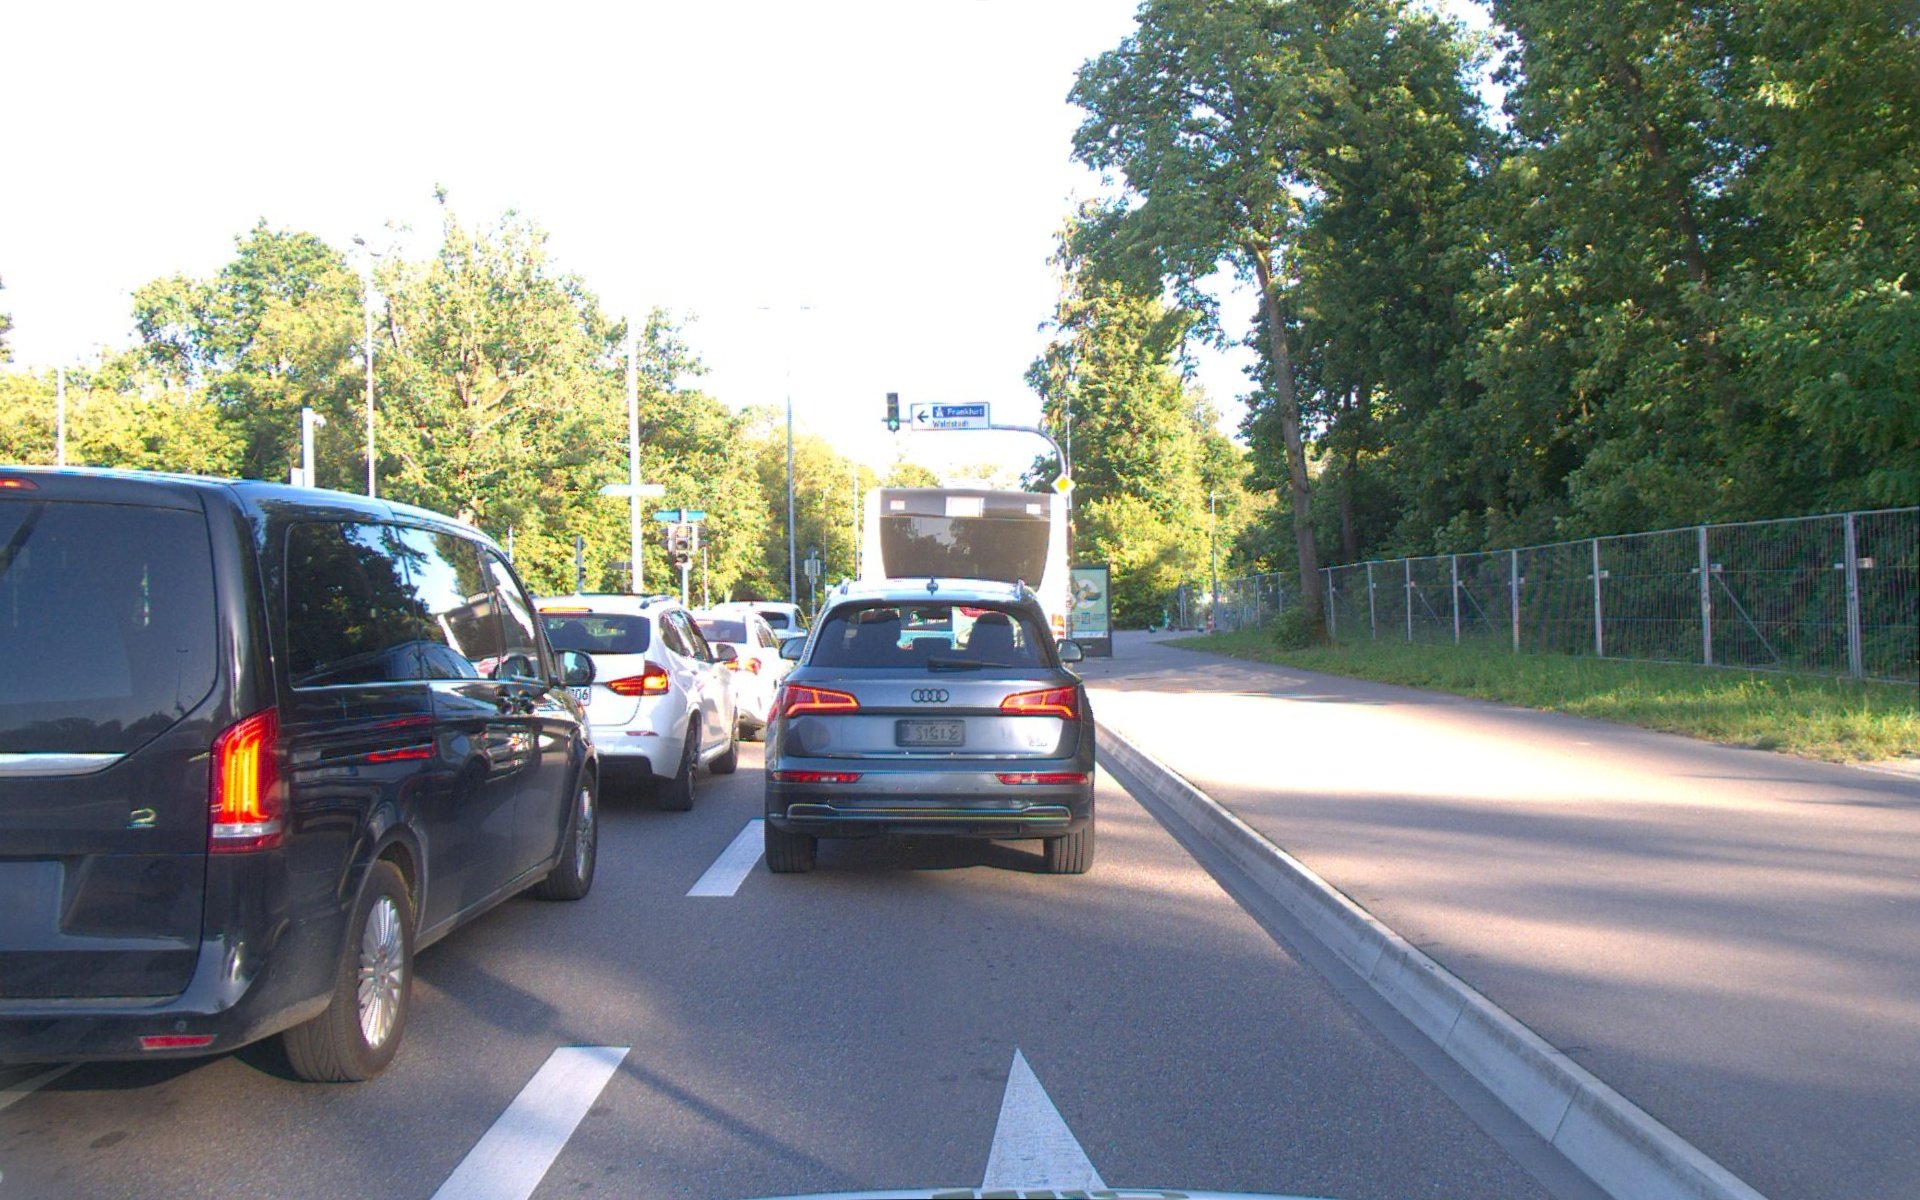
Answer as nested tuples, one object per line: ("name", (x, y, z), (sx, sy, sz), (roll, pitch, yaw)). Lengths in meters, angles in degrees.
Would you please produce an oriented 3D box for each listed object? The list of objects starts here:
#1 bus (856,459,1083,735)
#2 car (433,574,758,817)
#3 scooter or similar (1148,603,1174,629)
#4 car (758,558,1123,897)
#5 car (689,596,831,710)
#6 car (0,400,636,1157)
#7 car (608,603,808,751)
("bus", (0.135, -0.056, 22.403), (2.624, 3.197, 5.882), (1, 0, 0))
("car", (-2.726, 0.685, 13.376), (1.683, 1.608, 4.432), (1, -1, -1))
("scooter or similar", (9.269, 0.741, 76.210), (1.158, 1.195, 0.659), (1, 0, 10))
("car", (-0.126, 0.635, 10.401), (1.830, 1.693, 3.999), (1, 0, -1))
("car", (-3.040, 0.759, 25.918), (1.771, 1.599, 3.999), (1, 0, -1))
("car", (-2.680, 0.431, 6.565), (1.868, 1.888, 4.872), (1, 0, -1))
("car", (-2.831, 0.811, 19.420), (1.749, 1.469, 4.277), (1, 0, -1))
